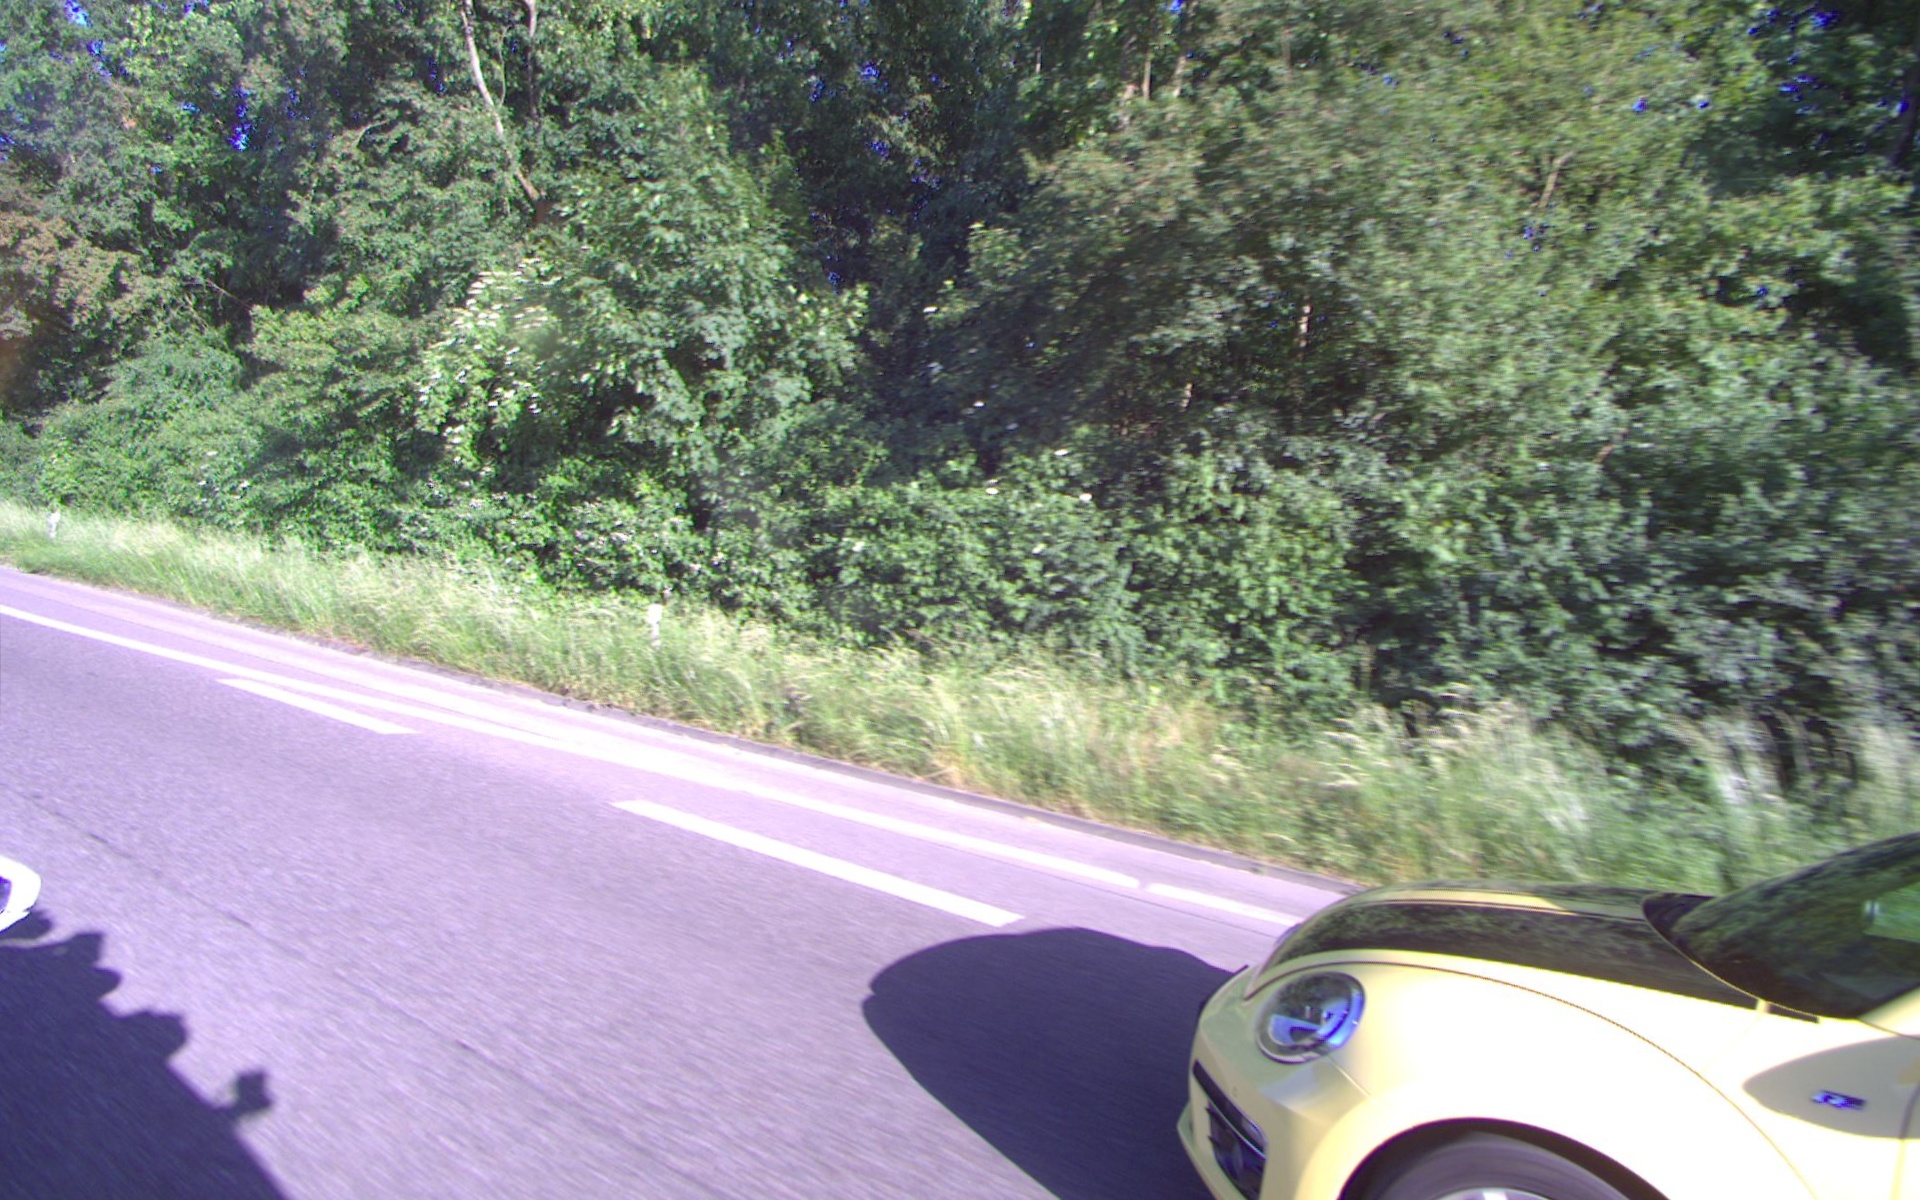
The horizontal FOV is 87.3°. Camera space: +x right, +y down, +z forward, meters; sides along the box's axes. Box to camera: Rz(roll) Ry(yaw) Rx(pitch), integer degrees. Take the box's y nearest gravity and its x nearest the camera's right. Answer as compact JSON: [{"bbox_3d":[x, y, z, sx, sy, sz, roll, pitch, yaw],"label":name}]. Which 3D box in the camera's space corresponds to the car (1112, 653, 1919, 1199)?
[{"bbox_3d":[2.704,1.162,2.009,4.283,1.479,1.883,7,-1,31],"label":"car"}]
